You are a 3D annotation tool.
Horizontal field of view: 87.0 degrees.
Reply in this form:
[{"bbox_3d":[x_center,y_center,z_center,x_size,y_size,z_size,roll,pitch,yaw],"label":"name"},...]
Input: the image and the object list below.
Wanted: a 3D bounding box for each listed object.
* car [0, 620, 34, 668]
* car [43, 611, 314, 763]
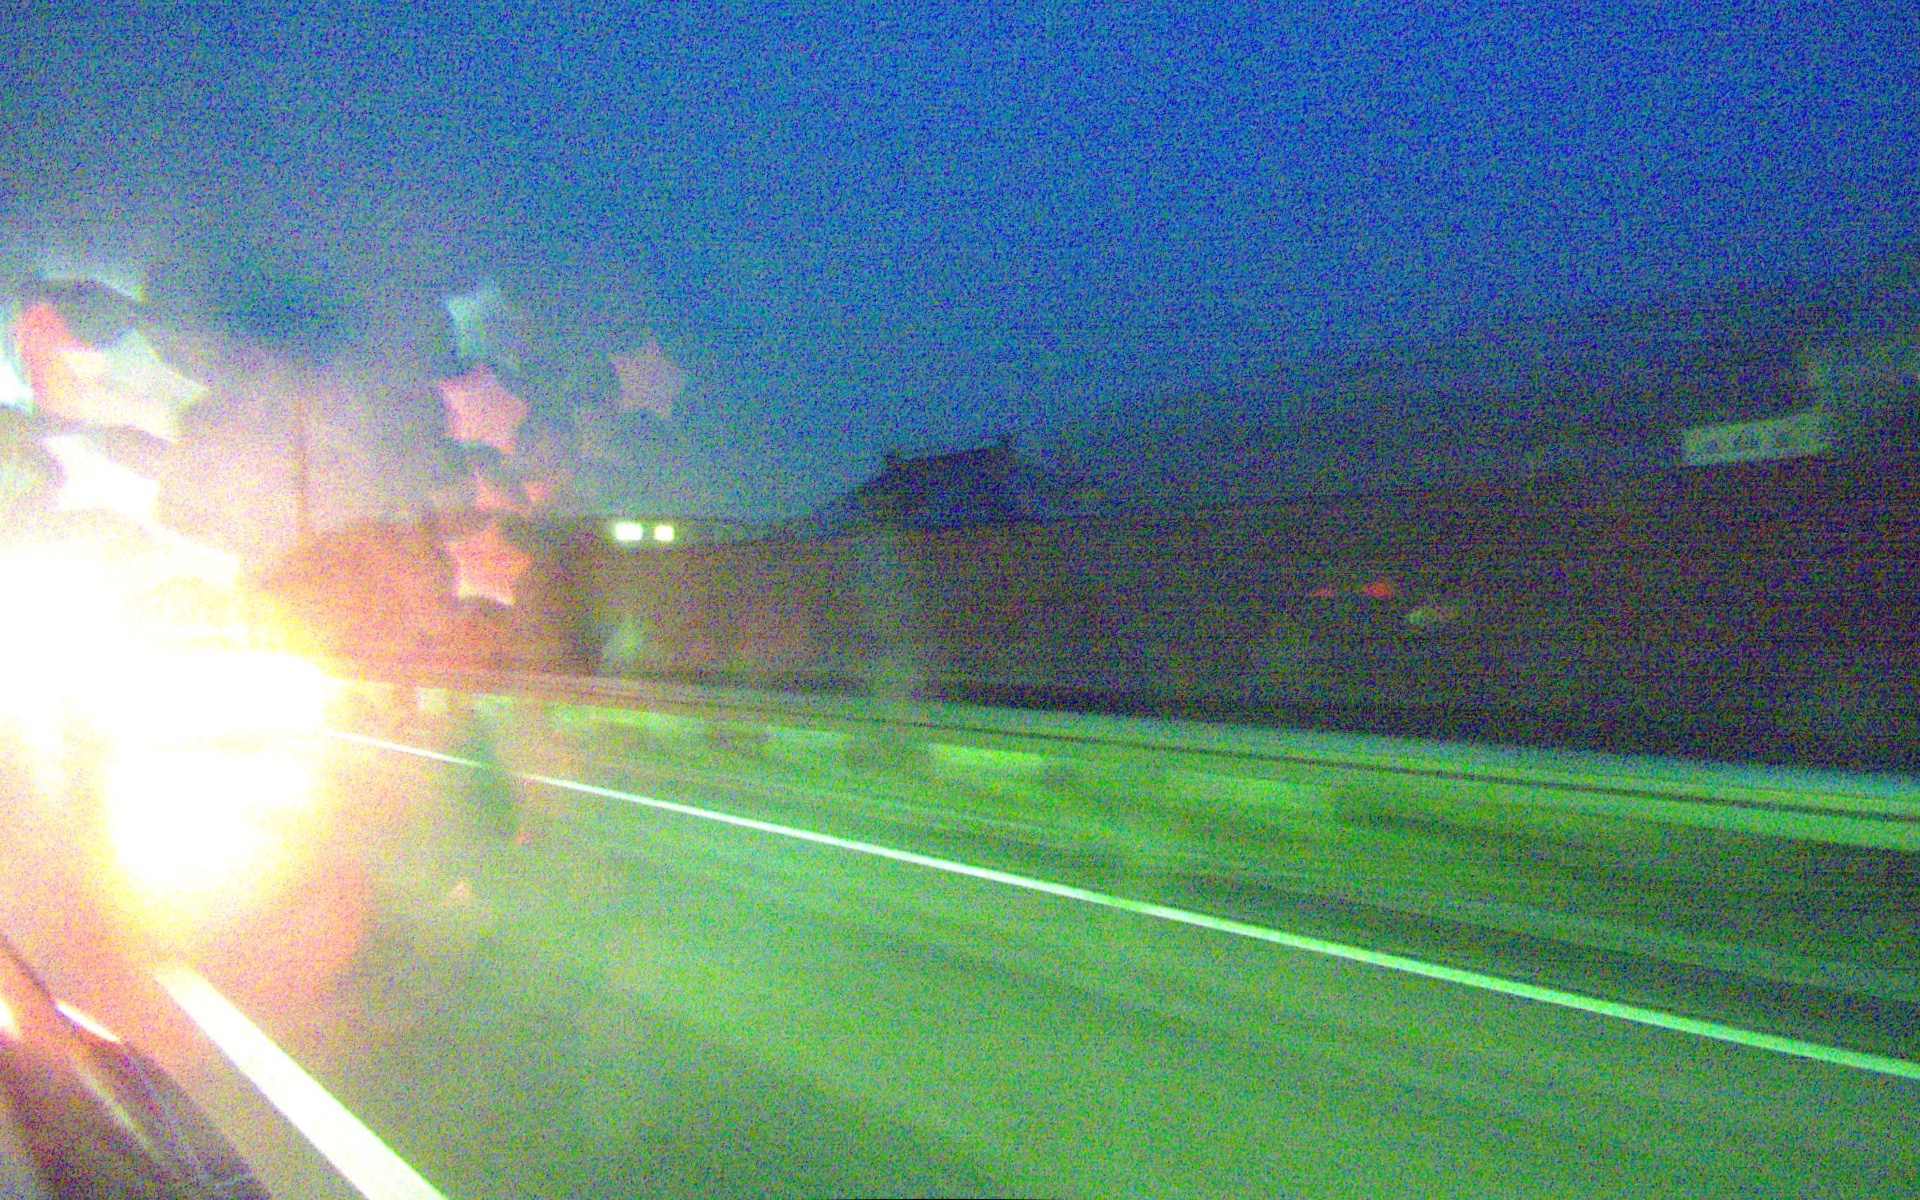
[{"bbox_3d":[-31.843,1.421,33.260,3.682,1.517,1.684,-1,0,41],"label":"car"},{"bbox_3d":[-9.593,0.917,12.292,4.351,1.494,1.813,-1,-1,41],"label":"car"}]
